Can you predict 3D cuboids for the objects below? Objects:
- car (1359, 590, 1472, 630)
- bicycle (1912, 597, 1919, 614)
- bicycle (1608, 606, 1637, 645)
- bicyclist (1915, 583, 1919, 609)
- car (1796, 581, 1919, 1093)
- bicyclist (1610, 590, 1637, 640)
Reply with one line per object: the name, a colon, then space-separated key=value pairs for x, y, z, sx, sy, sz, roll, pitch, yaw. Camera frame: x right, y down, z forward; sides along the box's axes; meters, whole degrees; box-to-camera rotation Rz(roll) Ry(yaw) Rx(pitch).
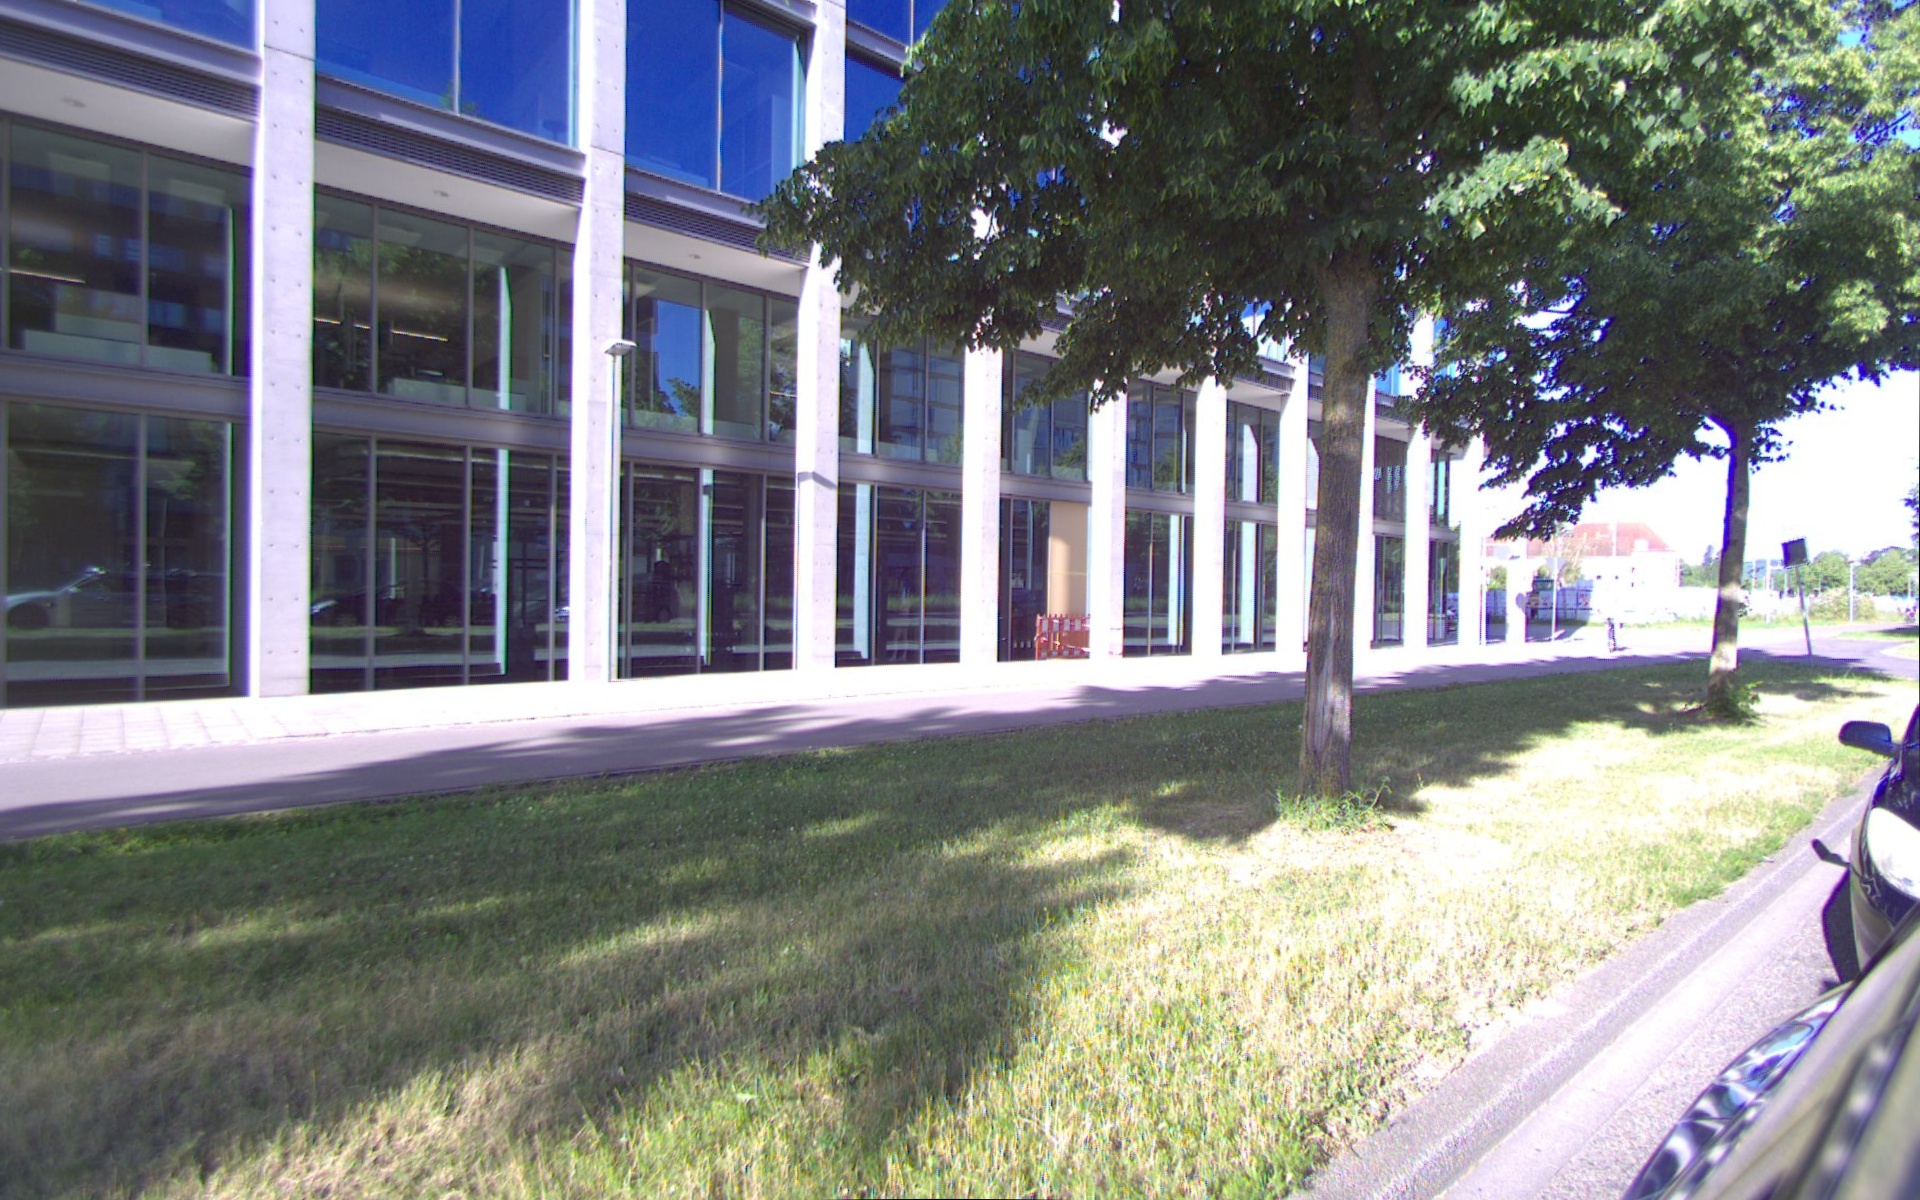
car: x=19.514 y=0.393 z=43.491 sx=1.963 sy=1.598 sz=3.997 roll=0 pitch=1 yaw=-38
bicycle: x=79.467 y=0.464 z=83.511 sx=3.930 sy=1.380 sz=0.930 roll=0 pitch=1 yaw=-41
bicycle: x=21.255 y=0.805 z=32.452 sx=0.589 sy=1.170 sz=1.901 roll=3 pitch=2 yaw=38
bicyclist: x=79.497 y=-0.318 z=83.515 sx=1.101 sy=2.082 sz=0.930 roll=0 pitch=0 yaw=-41
car: x=4.889 y=0.701 z=3.925 sx=4.403 sy=1.500 sz=1.845 roll=0 pitch=1 yaw=-41
bicyclist: x=21.267 y=0.464 z=32.438 sx=0.589 sy=1.558 sz=0.690 roll=3 pitch=2 yaw=39
